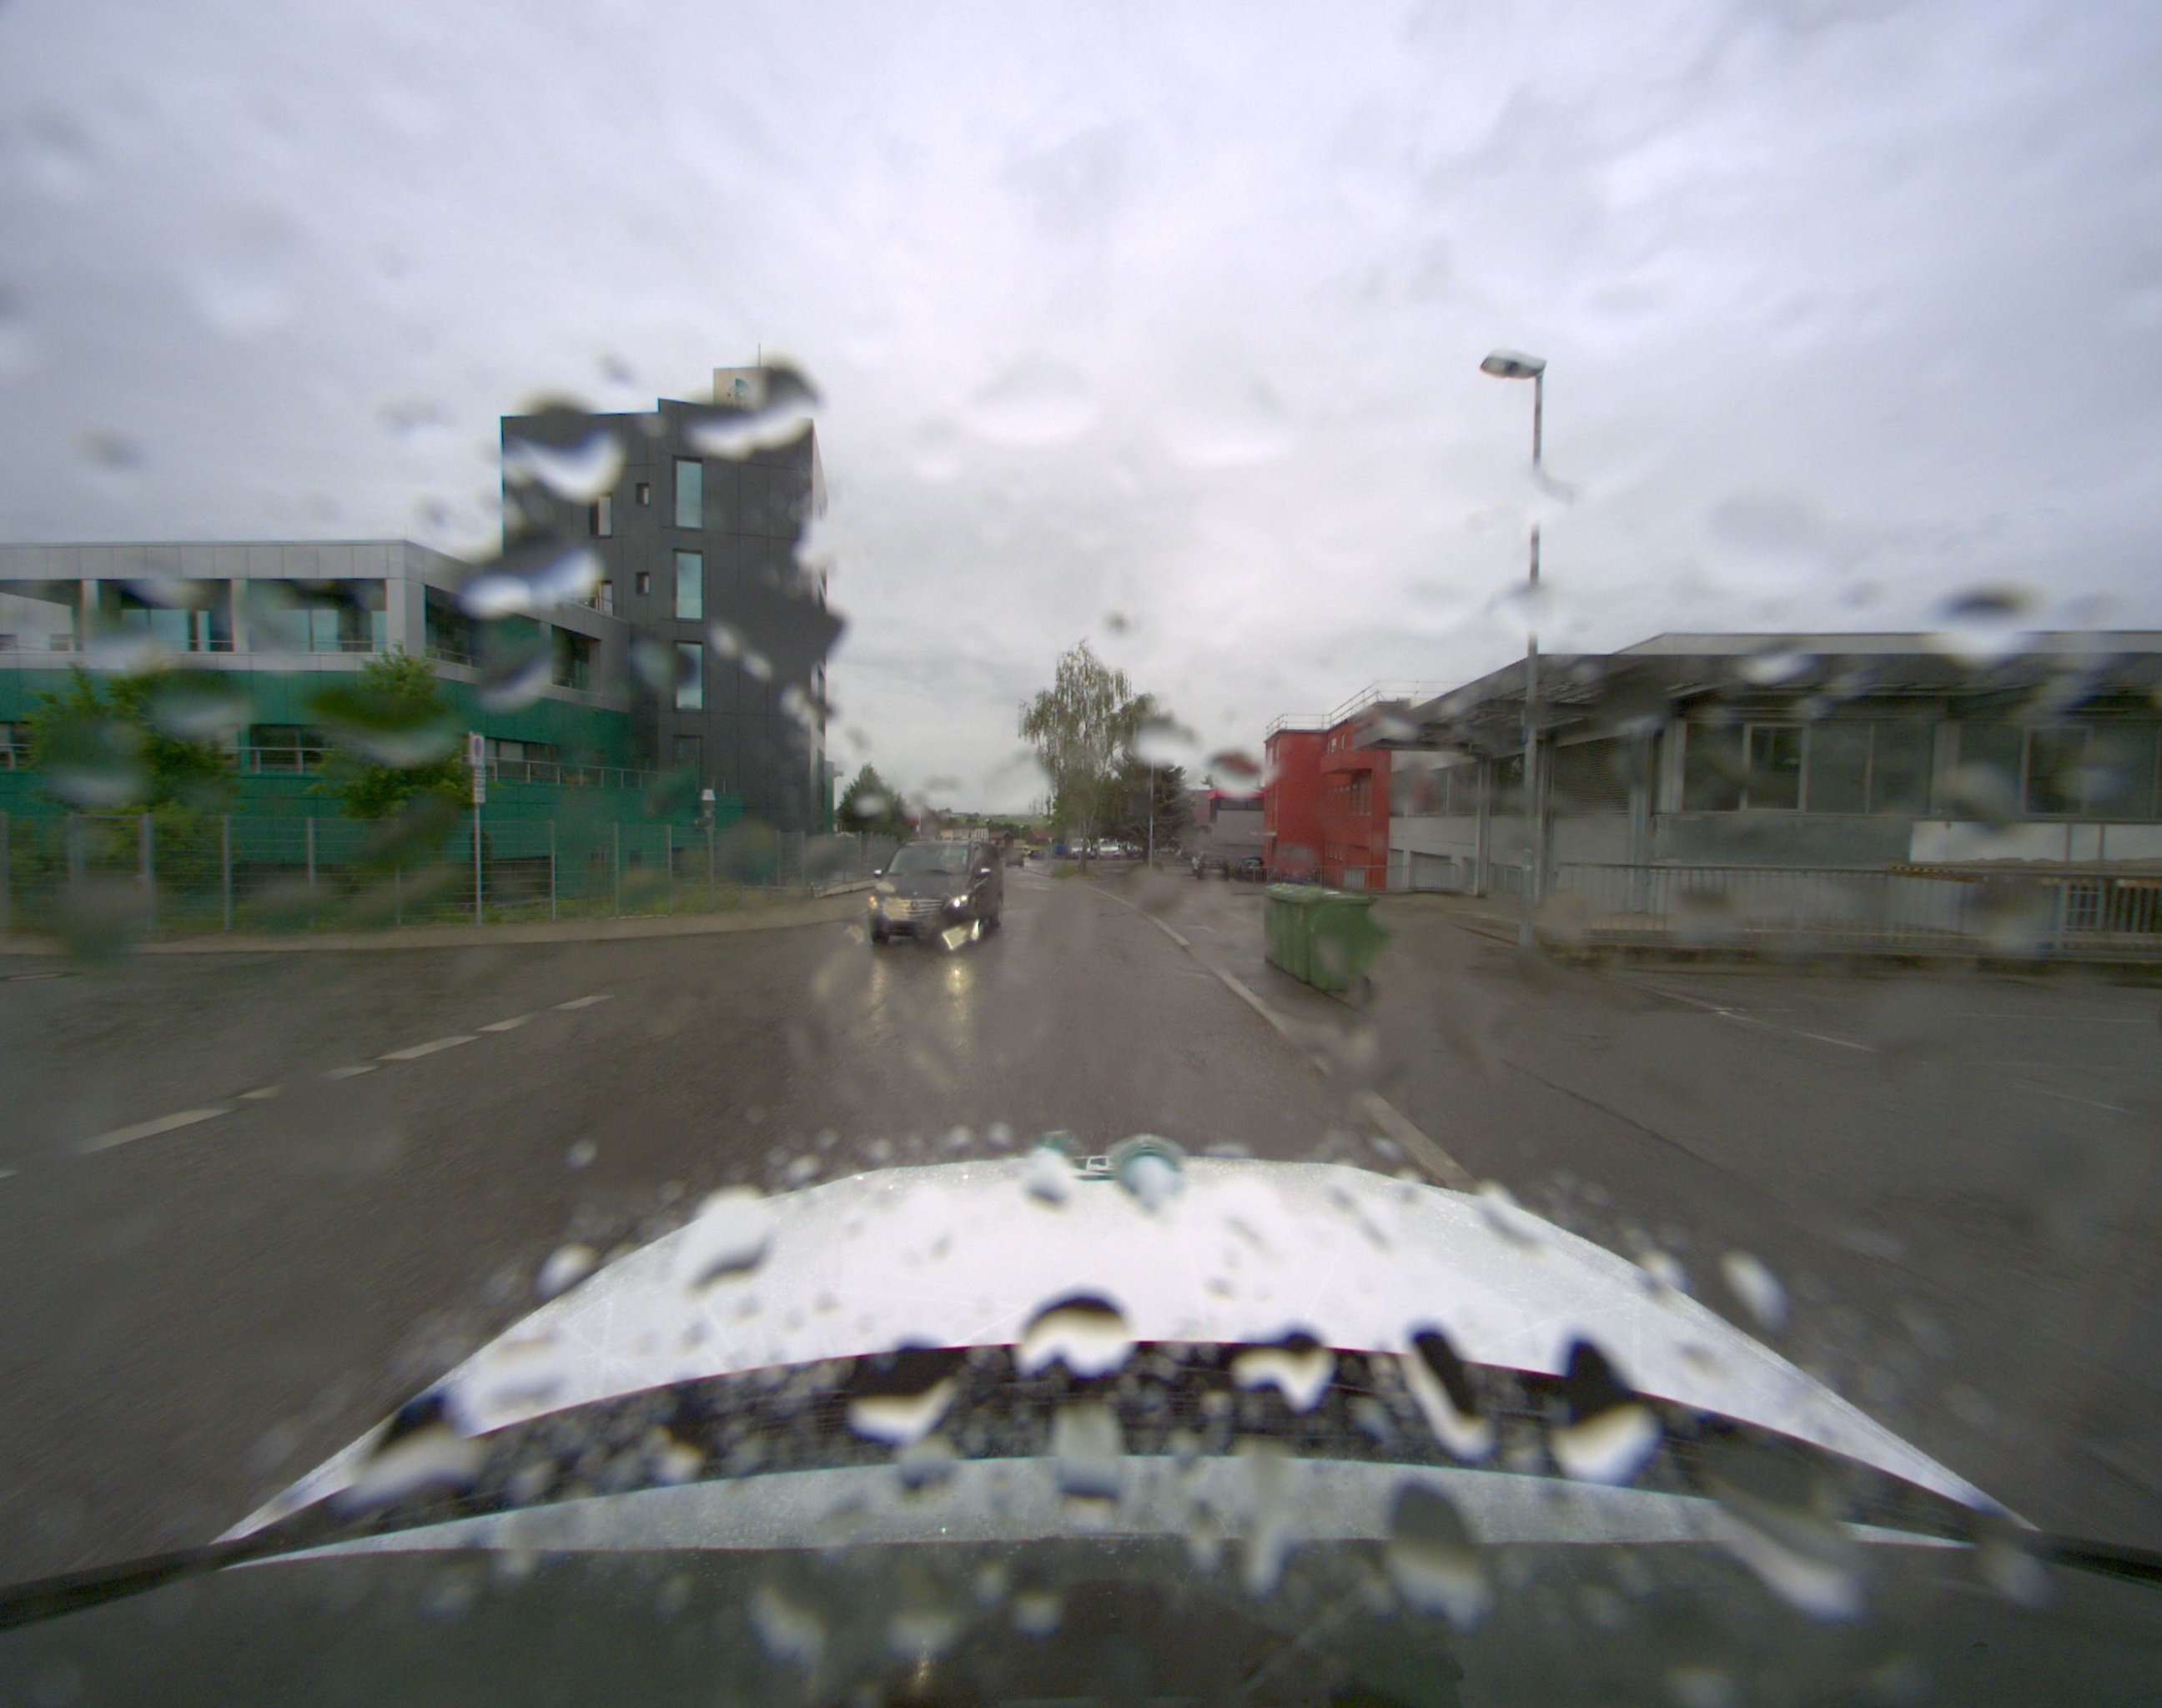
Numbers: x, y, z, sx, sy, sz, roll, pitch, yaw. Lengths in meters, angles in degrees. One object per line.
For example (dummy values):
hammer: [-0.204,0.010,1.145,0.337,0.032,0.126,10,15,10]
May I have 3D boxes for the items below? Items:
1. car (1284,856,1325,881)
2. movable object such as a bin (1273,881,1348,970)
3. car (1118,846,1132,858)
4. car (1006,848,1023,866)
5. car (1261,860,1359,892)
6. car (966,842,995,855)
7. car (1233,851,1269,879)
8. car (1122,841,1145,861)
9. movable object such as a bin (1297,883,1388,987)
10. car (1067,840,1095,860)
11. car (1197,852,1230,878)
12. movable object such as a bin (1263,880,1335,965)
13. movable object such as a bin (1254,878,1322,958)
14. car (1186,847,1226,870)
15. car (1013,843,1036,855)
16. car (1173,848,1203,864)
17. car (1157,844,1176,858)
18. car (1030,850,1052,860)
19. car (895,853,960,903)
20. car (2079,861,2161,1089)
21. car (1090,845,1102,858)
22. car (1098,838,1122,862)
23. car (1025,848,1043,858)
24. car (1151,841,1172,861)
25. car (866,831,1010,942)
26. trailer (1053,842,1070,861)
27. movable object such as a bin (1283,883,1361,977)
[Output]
car: [13.302,0.853,48.649,1.720,1.422,4.006,0,-1,6]
movable object such as a bin: [2.900,0.896,10.350,0.806,1.090,0.541,0,0,0]
car: [4.905,-0.189,91.376,1.394,1.326,2.700,0,-1,-1]
car: [-7.680,0.393,94.405,1.865,2.029,3.995,0,-1,-3]
car: [8.744,0.831,31.331,3.382,1.163,1.795,1,0,7]
car: [-15.281,-0.853,124.058,3.967,1.882,2.003,1,0,5]
car: [10.364,0.681,49.823,1.730,1.653,4.006,0,-1,6]
car: [5.503,-0.312,85.651,2.139,2.014,3.937,0,-1,-1]
movable object such as a bin: [2.909,0.888,9.120,0.803,1.092,0.709,0,0,0]
car: [-0.066,-0.362,84.746,2.265,2.014,3.986,1,-1,-10]
car: [7.977,0.685,49.332,1.689,1.475,4.006,0,-1,6]
movable object such as a bin: [2.908,0.903,10.911,0.806,1.076,0.581,0,0,0]
movable object such as a bin: [2.915,0.895,11.517,0.799,1.079,0.624,0,0,0]
car: [8.700,0.350,56.792,2.060,1.552,3.996,0,-1,-2]
car: [-11.525,-1.022,165.596,4.213,2.226,2.006,0,-1,11]
car: [9.372,0.172,71.449,2.539,1.352,1.242,1,0,0]
car: [9.603,-0.343,91.574,1.633,1.453,3.506,0,-1,-4]
car: [-6.515,0.245,130.983,2.469,1.539,3.972,1,-1,-21]
car: [-5.051,0.776,27.223,1.768,1.513,4.136,0,-1,-6]
car: [8.457,0.792,4.333,3.876,1.383,1.823,2,-1,5]
car: [1.680,-0.252,90.655,1.286,1.424,2.545,0,-1,-1]
car: [2.961,-0.391,84.918,2.187,2.459,3.996,0,-1,-3]
car: [-7.920,-0.139,136.704,2.001,1.704,3.972,1,-1,-21]
car: [8.467,-0.291,85.798,1.776,2.014,3.631,0,-1,-1]
car: [-2.682,0.562,16.582,1.878,1.886,5.073,-1,0,1]
trailer: [-2.134,-0.260,88.955,1.848,2.013,3.997,1,0,-2]
movable object such as a bin: [2.877,0.895,9.774,0.772,1.076,0.583,0,0,0]
